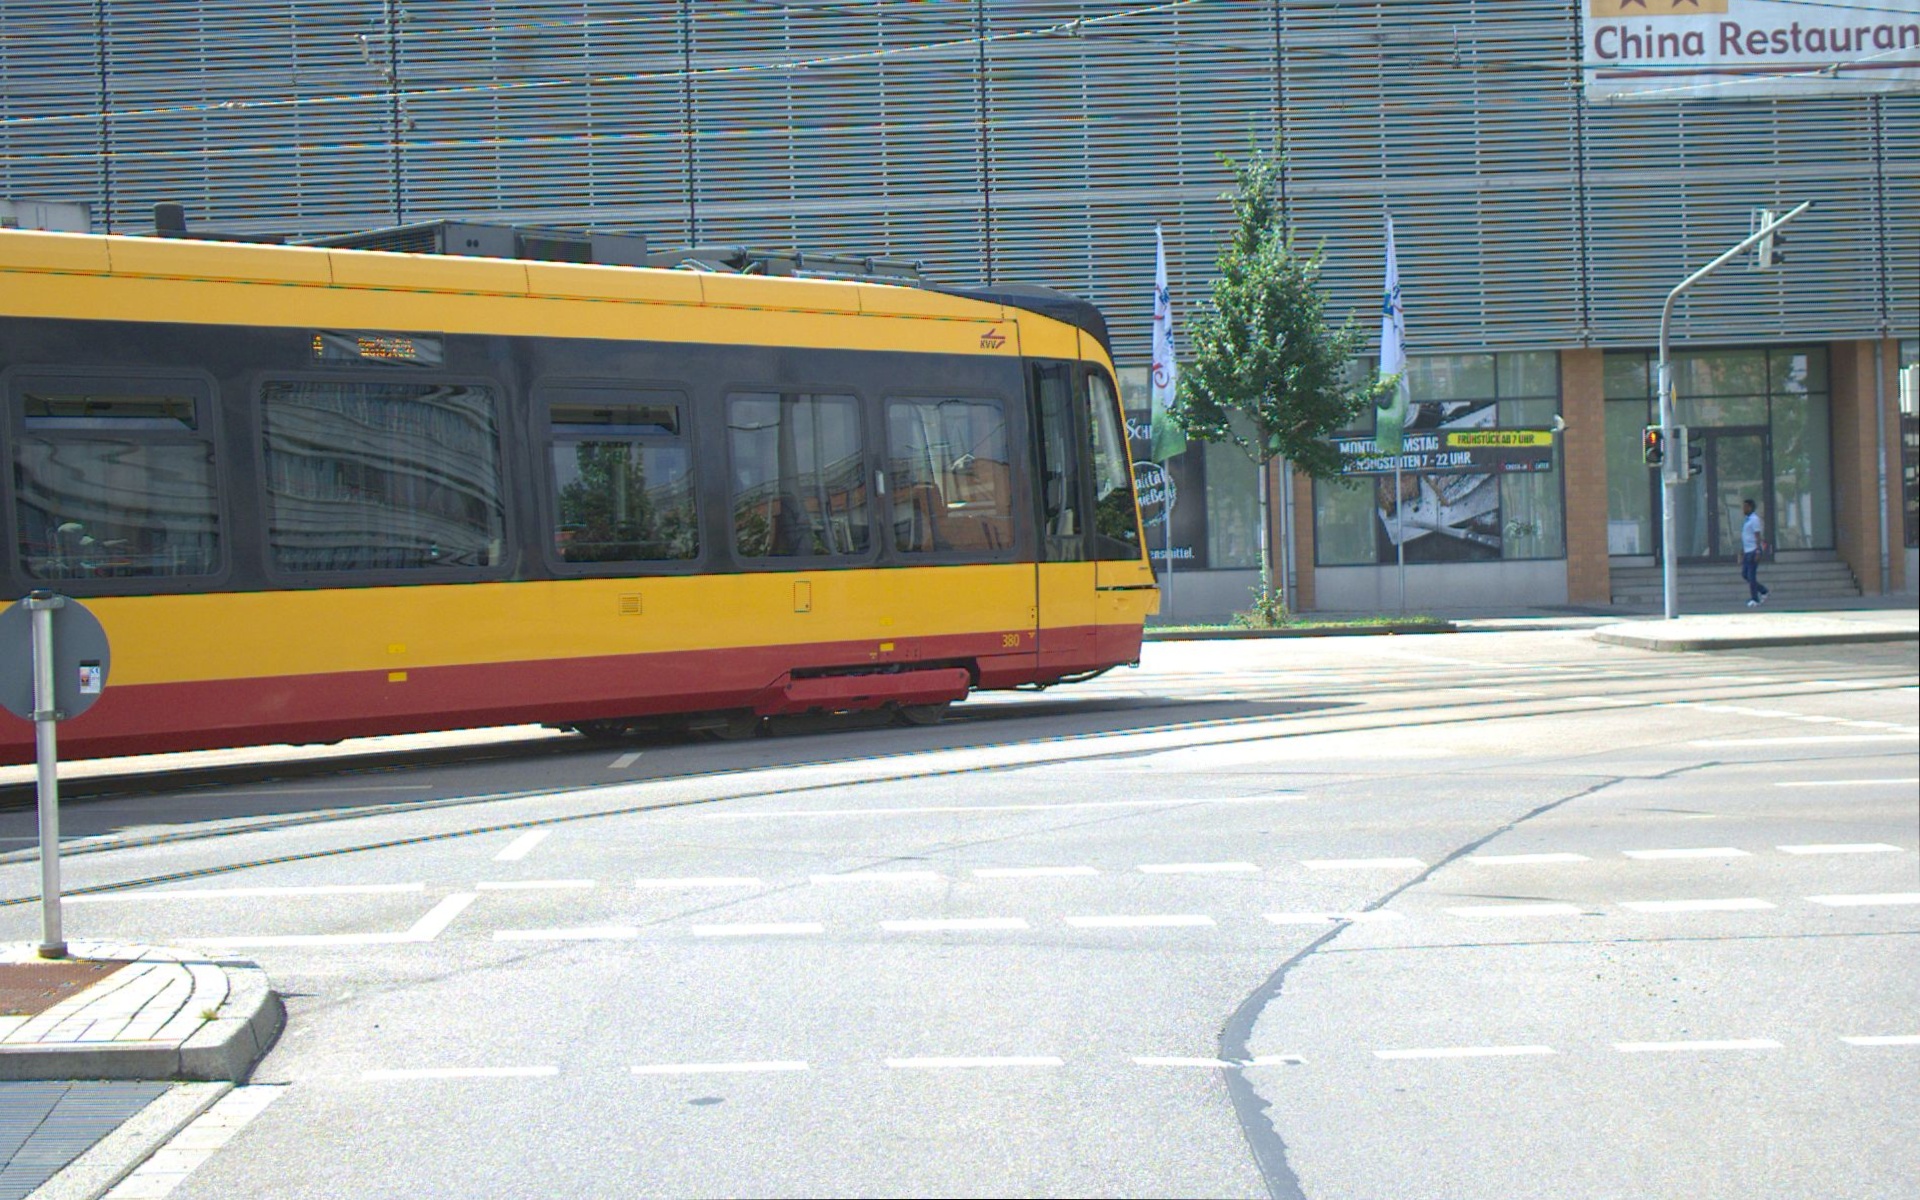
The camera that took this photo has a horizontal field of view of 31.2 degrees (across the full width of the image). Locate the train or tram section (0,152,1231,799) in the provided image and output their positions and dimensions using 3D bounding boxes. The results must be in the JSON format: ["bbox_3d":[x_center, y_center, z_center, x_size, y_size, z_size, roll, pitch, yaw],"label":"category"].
[{"bbox_3d":[-3.117,-0.883,24.166,3.062,3.608,12.607,-2,1,40],"label":"train or tram section"}]

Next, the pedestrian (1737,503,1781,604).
[{"bbox_3d":[13.765,-0.805,59.208,0.618,1.740,0.629,0,1,1],"label":"pedestrian"}]
